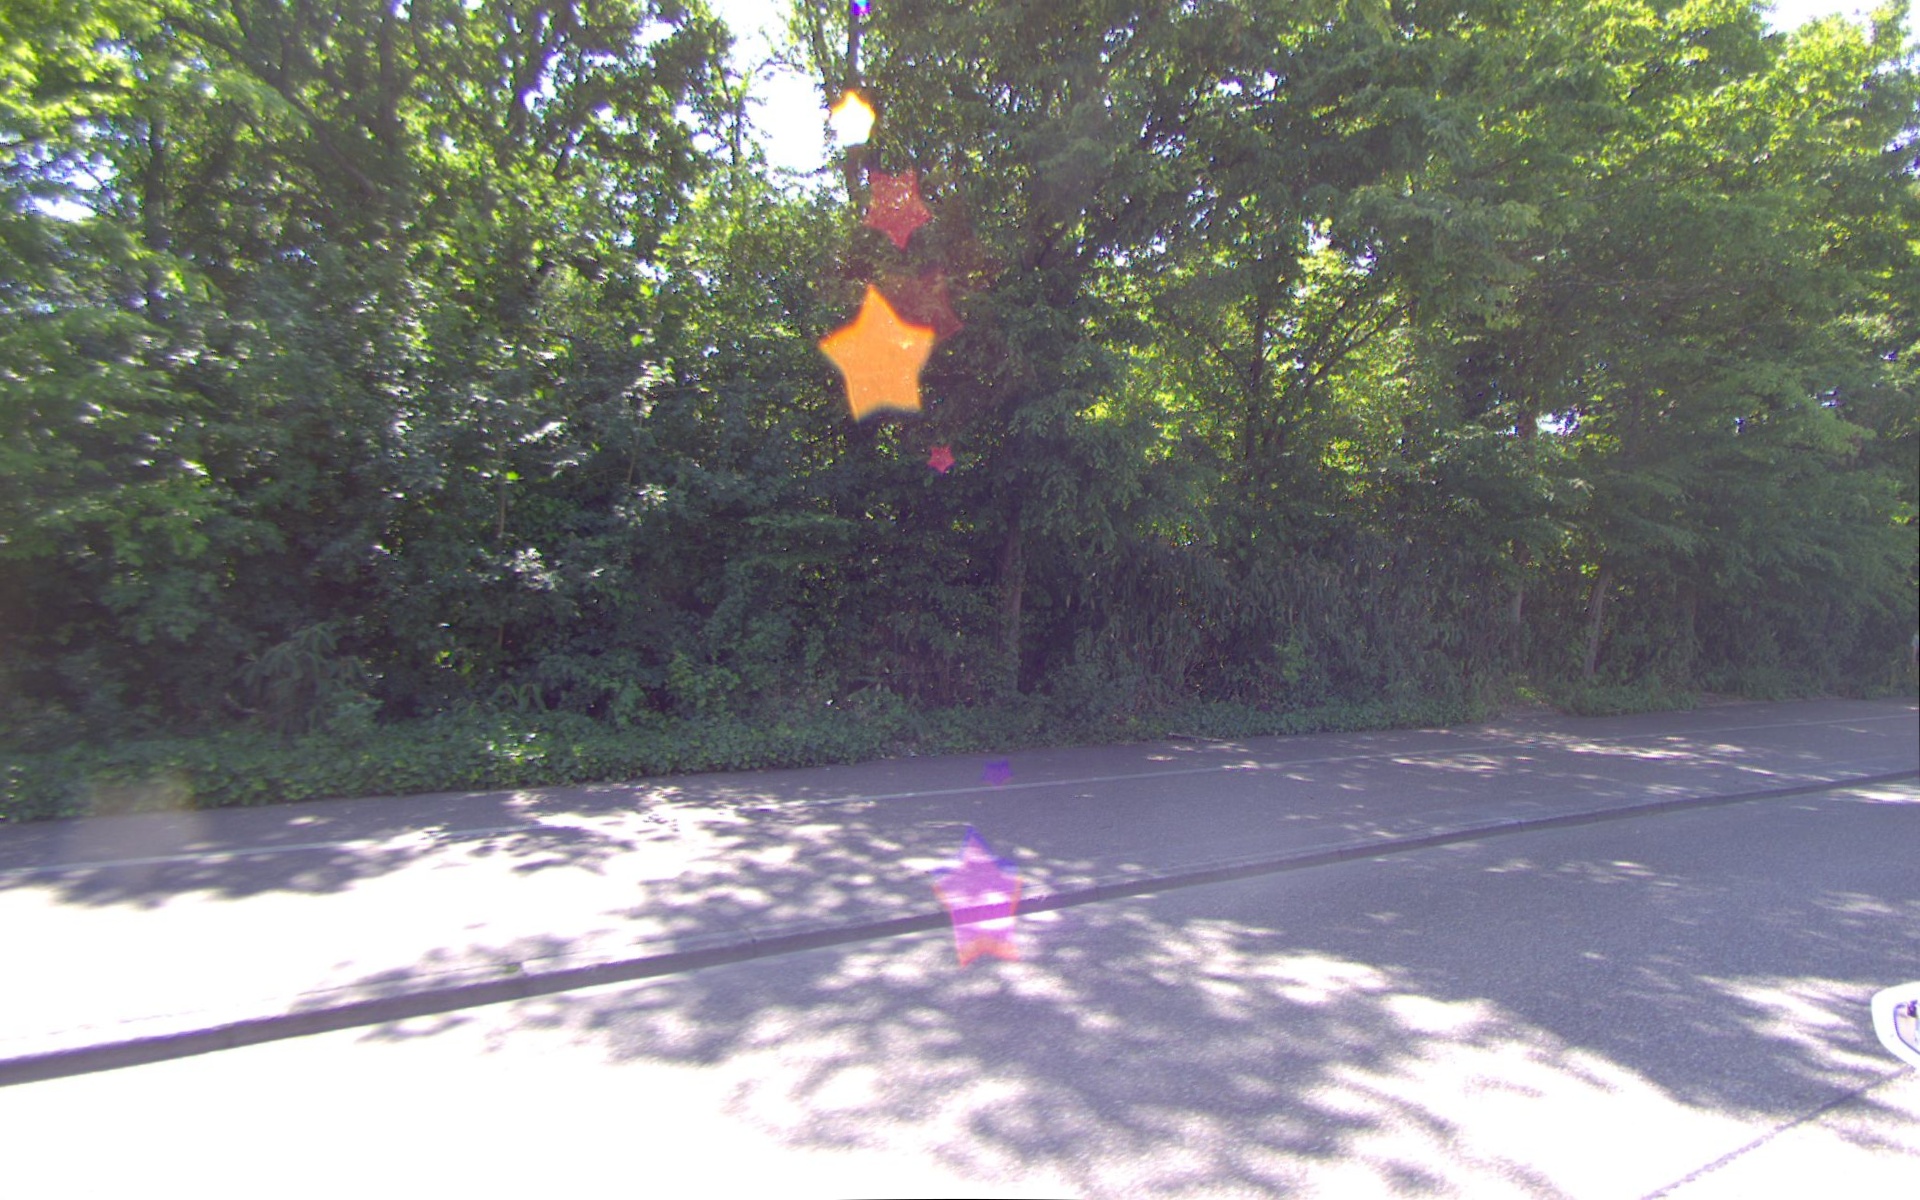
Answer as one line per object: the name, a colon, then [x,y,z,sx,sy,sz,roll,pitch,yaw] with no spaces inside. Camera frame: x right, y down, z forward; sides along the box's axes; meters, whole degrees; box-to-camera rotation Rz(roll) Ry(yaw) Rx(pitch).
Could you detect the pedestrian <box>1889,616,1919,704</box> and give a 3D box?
pedestrian: [18.508,1.143,19.213,0.774,1.644,0.824,1,2,-30]
